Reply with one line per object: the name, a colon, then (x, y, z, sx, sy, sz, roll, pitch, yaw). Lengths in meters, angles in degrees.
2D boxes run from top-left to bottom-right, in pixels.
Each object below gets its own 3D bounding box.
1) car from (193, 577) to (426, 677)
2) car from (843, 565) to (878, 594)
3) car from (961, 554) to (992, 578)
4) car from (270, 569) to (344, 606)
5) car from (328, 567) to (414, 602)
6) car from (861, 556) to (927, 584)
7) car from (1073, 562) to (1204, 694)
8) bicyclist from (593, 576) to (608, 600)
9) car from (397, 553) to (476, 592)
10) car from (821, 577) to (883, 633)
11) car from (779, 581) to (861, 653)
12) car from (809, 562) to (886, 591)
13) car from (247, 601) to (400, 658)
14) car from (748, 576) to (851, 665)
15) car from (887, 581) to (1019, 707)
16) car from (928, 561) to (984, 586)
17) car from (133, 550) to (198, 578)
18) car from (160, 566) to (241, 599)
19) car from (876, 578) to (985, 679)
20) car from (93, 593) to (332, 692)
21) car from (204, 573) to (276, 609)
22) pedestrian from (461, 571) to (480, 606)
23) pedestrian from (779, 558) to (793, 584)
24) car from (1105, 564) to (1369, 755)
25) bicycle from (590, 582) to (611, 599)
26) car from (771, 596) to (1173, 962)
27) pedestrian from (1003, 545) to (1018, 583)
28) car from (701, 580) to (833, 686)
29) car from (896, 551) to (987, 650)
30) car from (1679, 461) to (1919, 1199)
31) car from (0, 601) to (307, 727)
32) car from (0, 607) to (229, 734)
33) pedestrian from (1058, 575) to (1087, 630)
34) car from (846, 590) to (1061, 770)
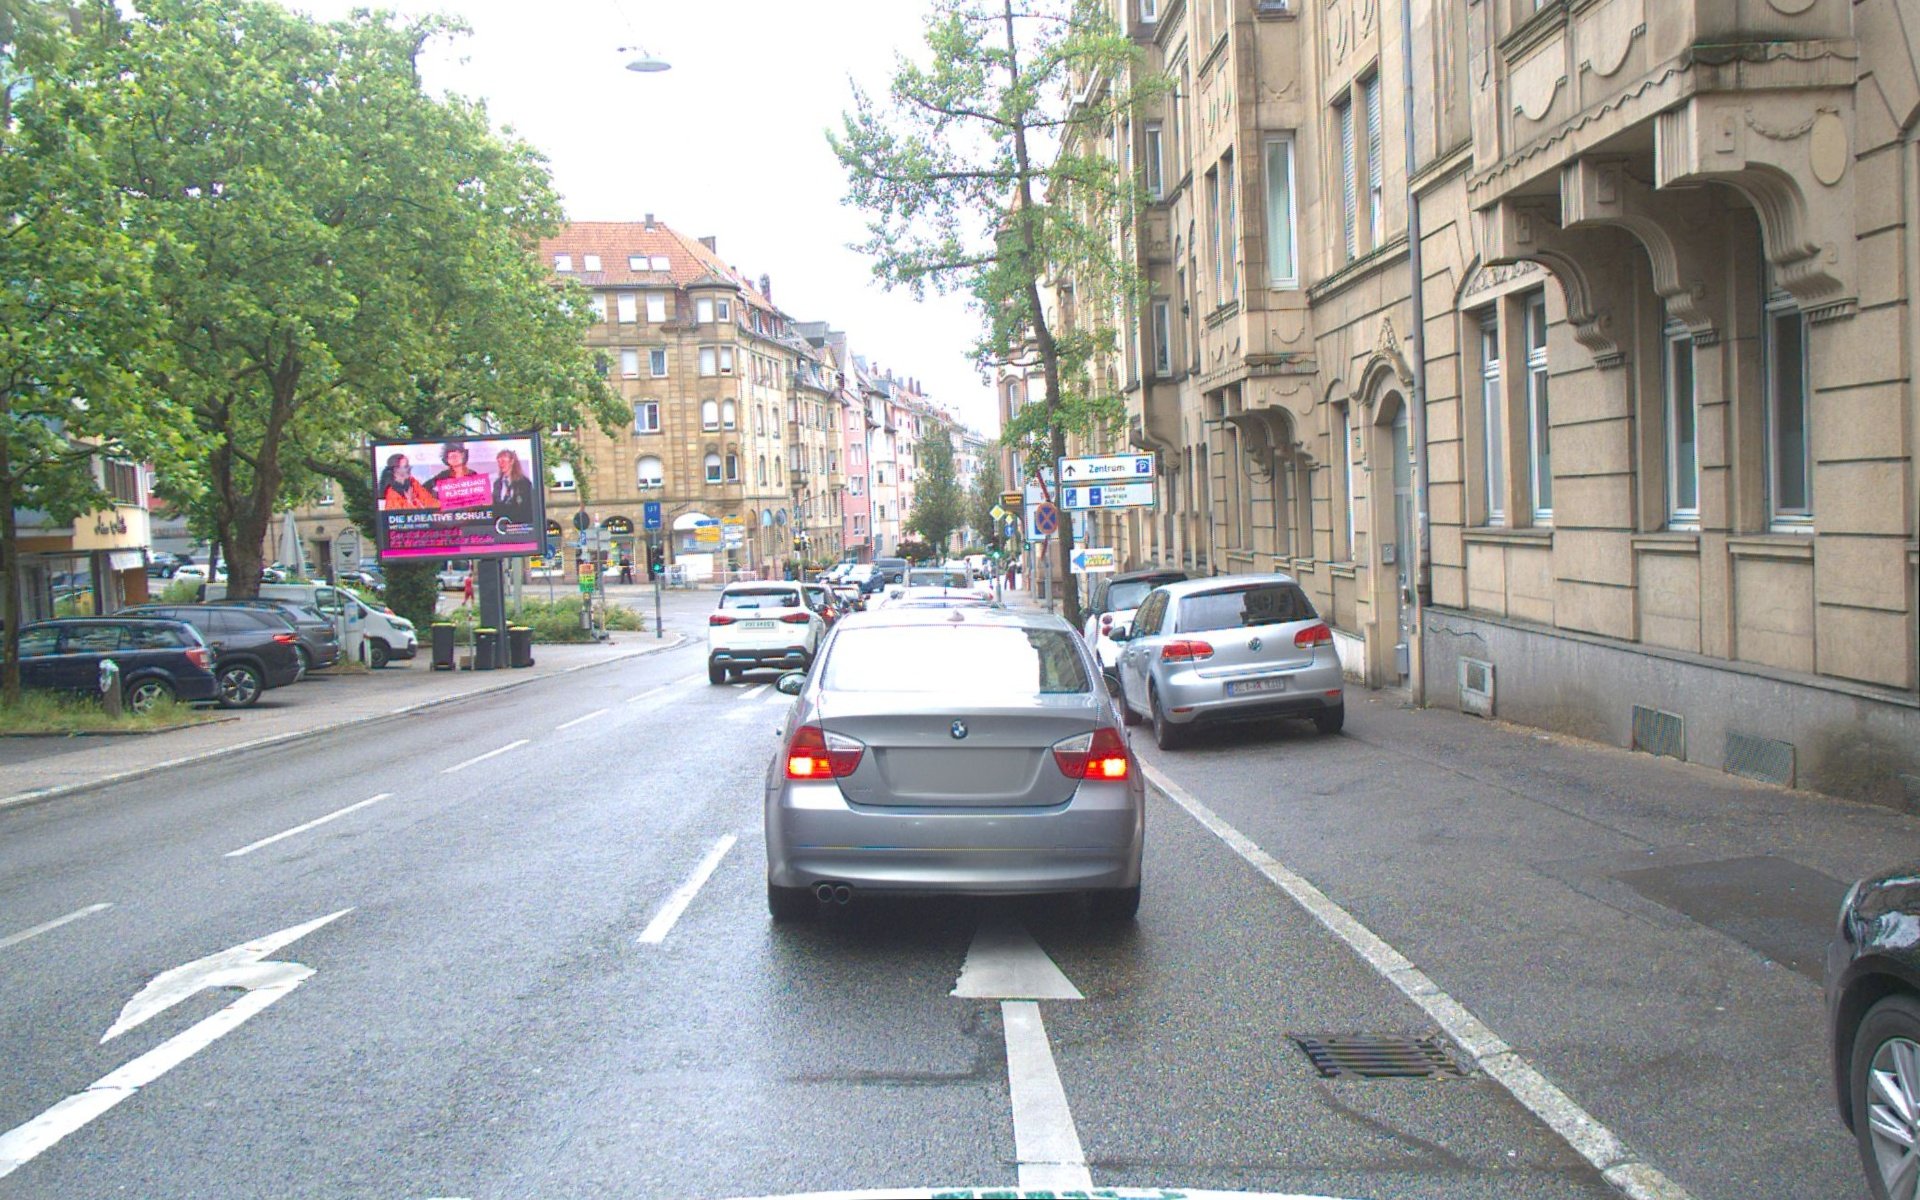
car: (-15.373, 0.606, 39.266, 4.989, 2.142, 1.979, -2, 0, -22)
car: (-5.365, -1.110, 89.669, 1.680, 1.476, 3.741, -2, 0, -1)
car: (1.235, -2.492, 120.302, 1.951, 1.606, 4.002, 1, 0, 5)
car: (-40.295, -0.775, 101.990, 4.196, 2.138, 1.998, 2, 2, 28)
car: (-30.585, -0.810, 85.932, 4.157, 1.756, 1.997, 1, 2, 30)
car: (-5.123, -2.311, 129.701, 5.072, 2.049, 2.698, 1, 0, -1)
car: (2.400, 0.349, 22.738, 1.273, 1.569, 2.975, -6, 1, -1)
bicyclist: (-19.615, -0.630, 90.288, 0.556, 1.295, 0.690, 1, -1, 11)
car: (-30.442, -1.636, 96.206, 4.196, 2.138, 1.998, 2, 2, 28)
car: (-3.466, 0.135, 53.581, 1.723, 1.737, 4.000, -1, 1, 0)
car: (-3.554, 0.394, 42.536, 1.723, 1.737, 4.000, -1, 1, 0)
car: (-6.779, -1.416, 100.274, 1.964, 1.606, 4.627, 1, 0, 42)
car: (-17.965, 0.813, 46.770, 3.916, 1.475, 1.757, -2, 0, -22)
car: (-3.314, 0.388, 34.754, 1.723, 1.737, 4.000, -1, 1, 0)
car: (-0.070, 0.498, 21.659, 1.562, 1.490, 4.000, 0, 1, 0)
car: (-0.241, -1.784, 111.083, 1.957, 1.606, 3.991, 1, 0, 31)
car: (-51.296, -2.310, 106.748, 3.909, 1.718, 1.726, 1, 0, 27)
car: (-42.447, -0.987, 92.407, 4.155, 1.756, 1.998, 0, 3, 29)
car: (-0.466, 0.427, 28.429, 1.723, 1.594, 4.000, -1, 1, 0)
car: (-15.130, 0.829, 33.757, 4.295, 1.815, 1.927, -2, 0, -22)
car: (-45.405, -0.590, 104.285, 4.196, 2.138, 1.998, 2, 2, 28)
pedestrian: (-23.580, -0.554, 79.622, 0.525, 1.604, 0.720, -3, 1, 12)
pedestrian: (-10.596, -1.777, 100.906, 0.716, 1.605, 0.528, -2, 0, 8)
car: (2.577, 0.494, 16.329, 1.725, 1.476, 3.999, -6, 1, -1)
bicycle: (-19.633, -0.517, 90.311, 0.561, 0.873, 1.523, 1, 0, 11)
car: (0.057, 0.712, 8.406, 1.590, 1.407, 3.615, -1, 1, 0)
pedestrian: (2.642, -1.873, 86.511, 0.727, 1.943, 0.659, -2, 0, -2)
car: (-3.216, 0.499, 28.229, 1.830, 1.654, 3.999, -1, 0, -1)
car: (-0.422, 0.002, 37.739, 1.953, 2.143, 3.999, 0, 0, -1)
car: (2.704, 0.498, 2.011, 1.724, 1.679, 4.098, -6, 1, 0)
car: (-12.895, 0.972, 26.671, 4.308, 1.701, 1.842, -3, 1, -24)
car: (-12.990, 1.018, 23.933, 4.299, 1.601, 1.929, -3, 1, -24)
pedestrian: (3.250, 0.067, 47.846, 0.618, 1.534, 0.693, -6, 0, -2)
car: (-0.042, 0.631, 15.333, 1.723, 1.407, 4.000, -1, 1, 0)
